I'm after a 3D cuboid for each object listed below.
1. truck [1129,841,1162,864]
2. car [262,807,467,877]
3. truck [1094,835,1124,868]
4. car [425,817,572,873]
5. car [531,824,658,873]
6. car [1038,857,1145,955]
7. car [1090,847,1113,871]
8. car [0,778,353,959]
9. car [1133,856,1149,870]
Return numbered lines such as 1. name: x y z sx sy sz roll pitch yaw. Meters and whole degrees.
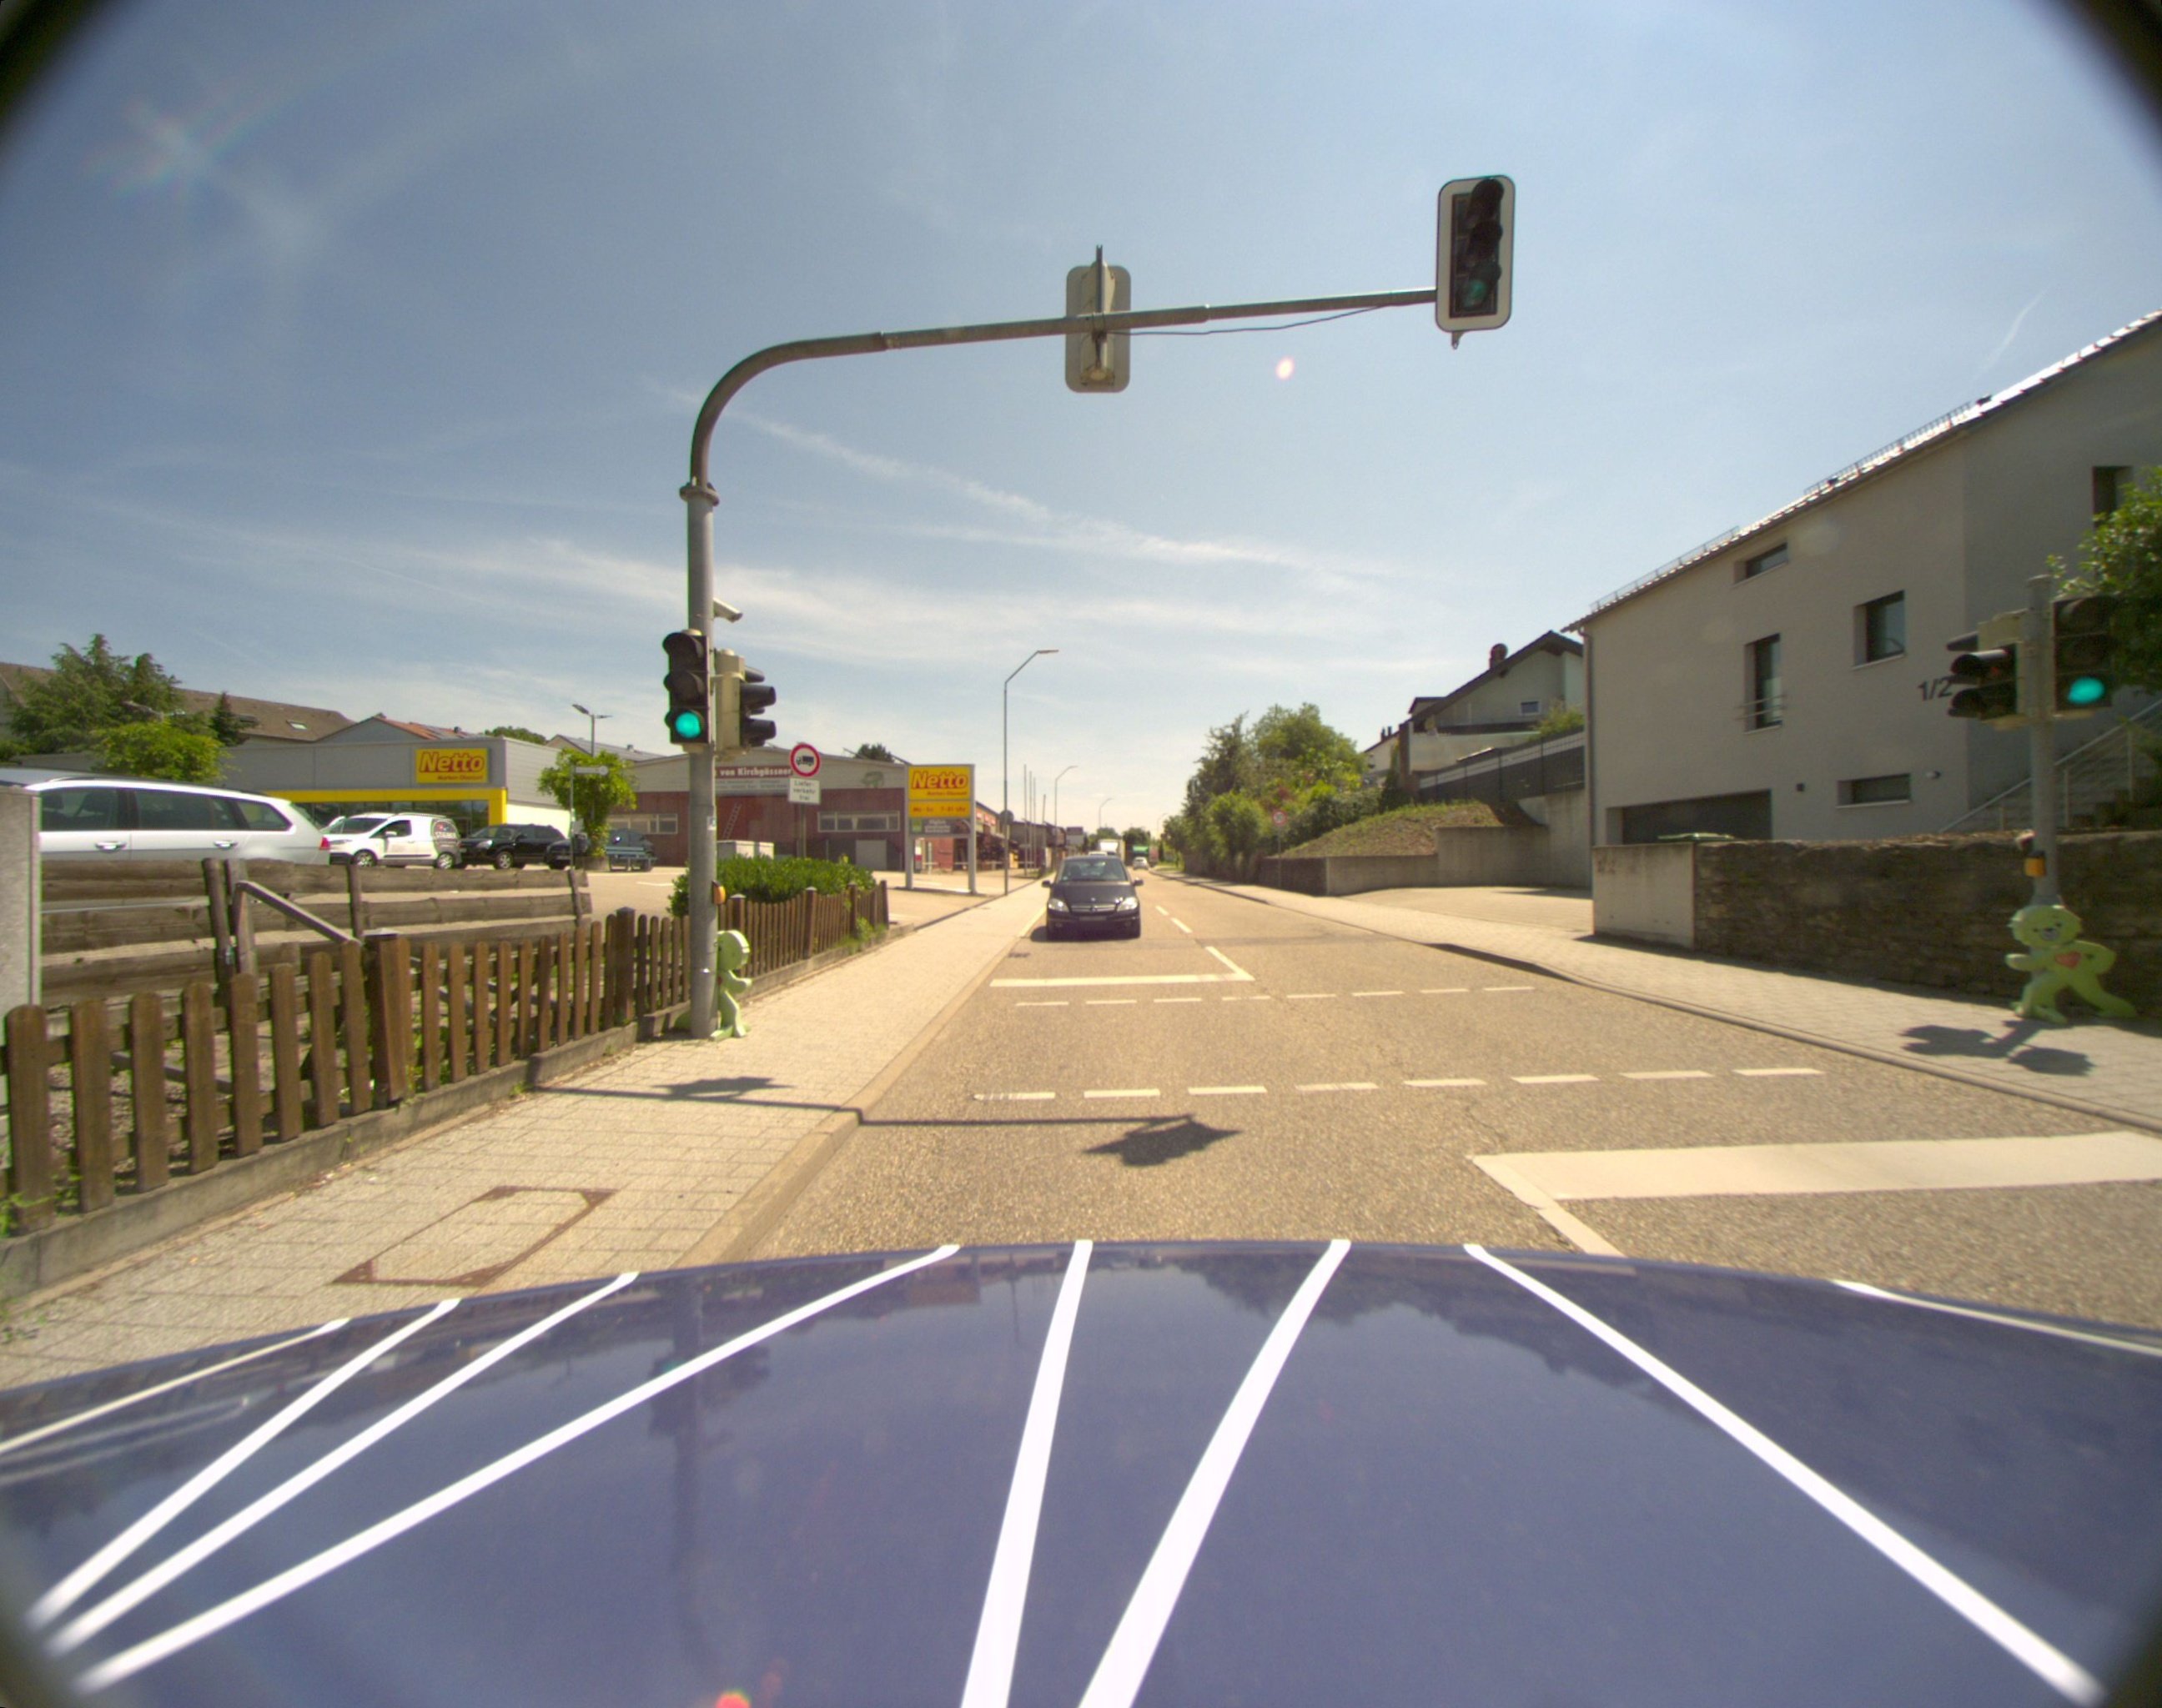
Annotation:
1. truck: 10.113 -0.160 117.445 2.847 3.214 8.177 2 0 21
2. car: -20.333 -0.314 21.849 1.912 1.737 4.129 2 0 1
3. truck: 3.407 -0.290 89.752 3.202 3.578 8.309 2 0 4
4. car: -20.399 -0.289 26.843 1.912 1.737 4.129 2 0 1
5. car: -17.247 -0.156 27.220 1.913 1.586 4.209 1 -1 -2
6. car: 0.243 0.893 14.972 1.764 1.583 4.198 -2 0 2
7. car: 1.785 0.439 66.467 1.867 1.897 5.038 -2 0 2
8. car: -9.668 0.072 6.873 1.634 1.455 4.504 5 0 2
9. car: 7.171 1.037 90.771 1.826 1.516 3.559 -2 0 4
